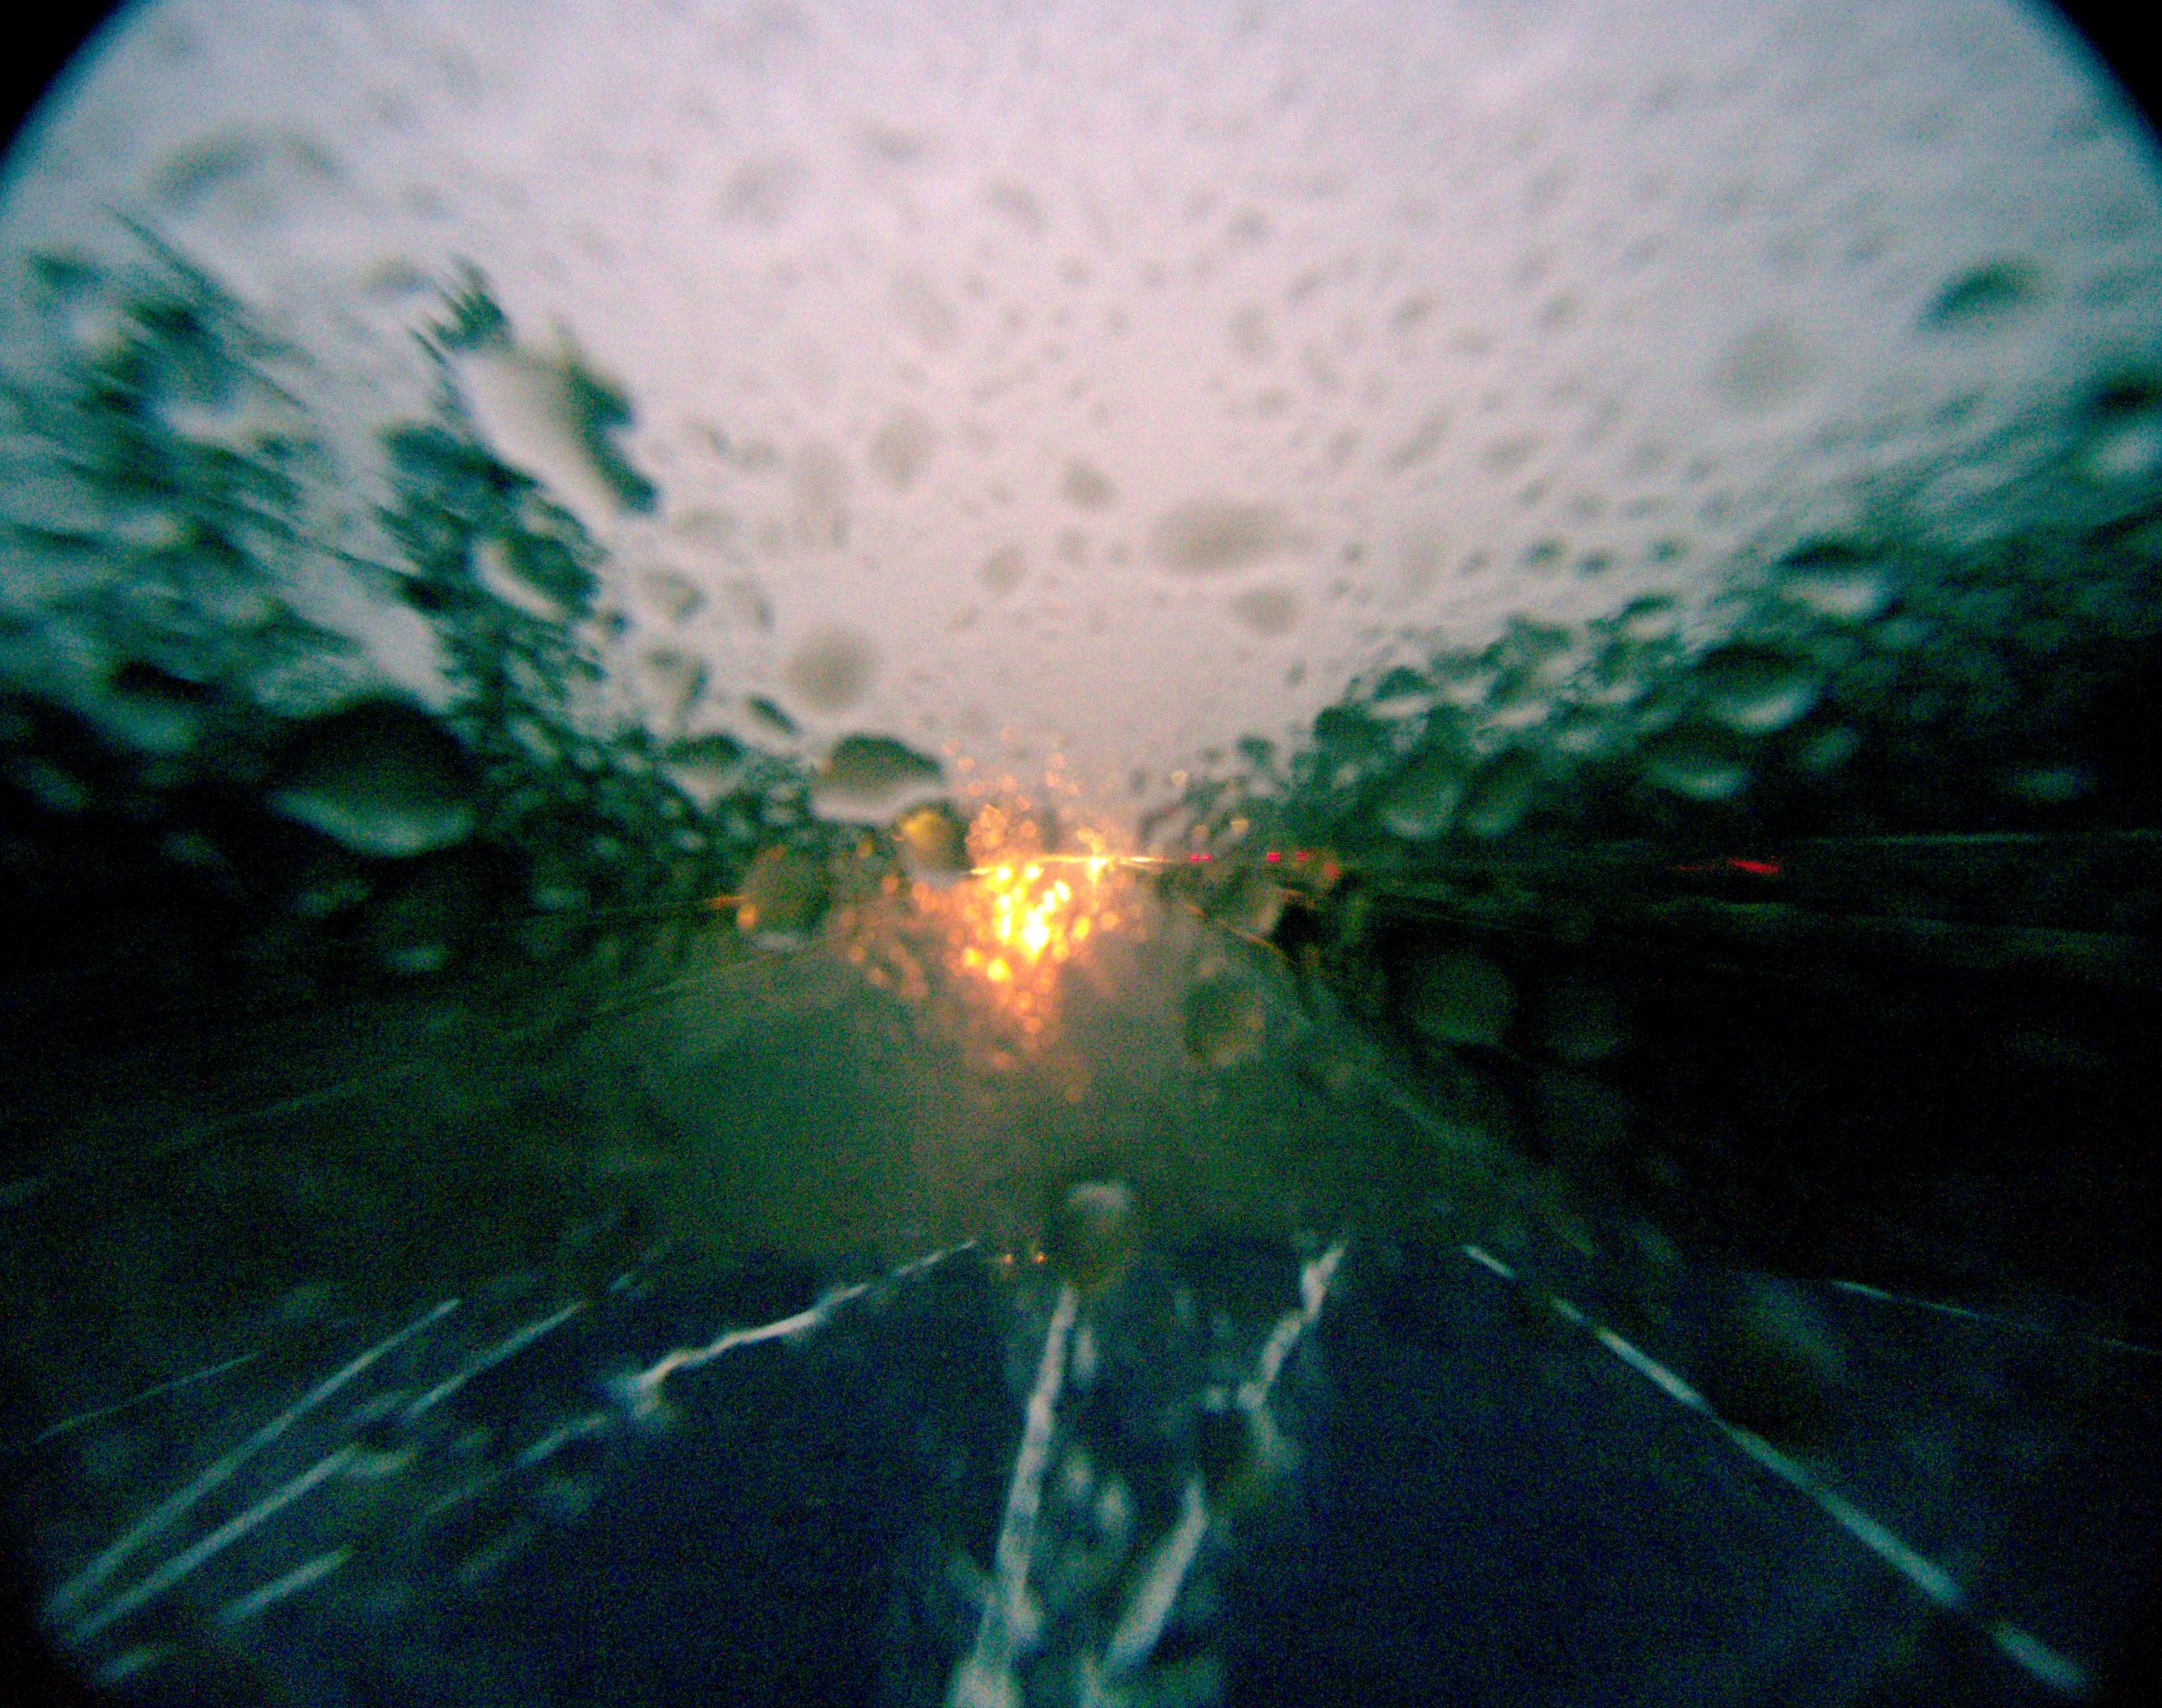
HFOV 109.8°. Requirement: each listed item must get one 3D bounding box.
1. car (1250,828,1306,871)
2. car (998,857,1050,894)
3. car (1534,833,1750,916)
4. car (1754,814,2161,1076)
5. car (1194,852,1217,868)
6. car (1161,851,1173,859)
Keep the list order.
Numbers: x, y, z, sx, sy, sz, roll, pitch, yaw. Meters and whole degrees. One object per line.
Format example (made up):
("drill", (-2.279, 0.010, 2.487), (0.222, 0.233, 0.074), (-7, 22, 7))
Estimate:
("car", (12.536, -0.293, 48.845), (2.008, 2.553, 6.376), (-2, 0, 1))
("car", (-2.825, 1.051, 38.699), (2.075, 1.688, 4.461), (-2, 0, 2))
("car", (11.514, 0.330, 15.941), (1.744, 1.410, 3.703), (-4, 2, 0))
("car", (7.523, 0.548, 5.853), (1.471, 1.646, 3.639), (-2, 0, 1))
("car", (14.227, 0.647, 86.972), (1.881, 1.685, 5.450), (-2, 0, 2))
("car", (14.749, 0.167, 130.567), (1.647, 1.471, 3.648), (-2, 0, 1))
